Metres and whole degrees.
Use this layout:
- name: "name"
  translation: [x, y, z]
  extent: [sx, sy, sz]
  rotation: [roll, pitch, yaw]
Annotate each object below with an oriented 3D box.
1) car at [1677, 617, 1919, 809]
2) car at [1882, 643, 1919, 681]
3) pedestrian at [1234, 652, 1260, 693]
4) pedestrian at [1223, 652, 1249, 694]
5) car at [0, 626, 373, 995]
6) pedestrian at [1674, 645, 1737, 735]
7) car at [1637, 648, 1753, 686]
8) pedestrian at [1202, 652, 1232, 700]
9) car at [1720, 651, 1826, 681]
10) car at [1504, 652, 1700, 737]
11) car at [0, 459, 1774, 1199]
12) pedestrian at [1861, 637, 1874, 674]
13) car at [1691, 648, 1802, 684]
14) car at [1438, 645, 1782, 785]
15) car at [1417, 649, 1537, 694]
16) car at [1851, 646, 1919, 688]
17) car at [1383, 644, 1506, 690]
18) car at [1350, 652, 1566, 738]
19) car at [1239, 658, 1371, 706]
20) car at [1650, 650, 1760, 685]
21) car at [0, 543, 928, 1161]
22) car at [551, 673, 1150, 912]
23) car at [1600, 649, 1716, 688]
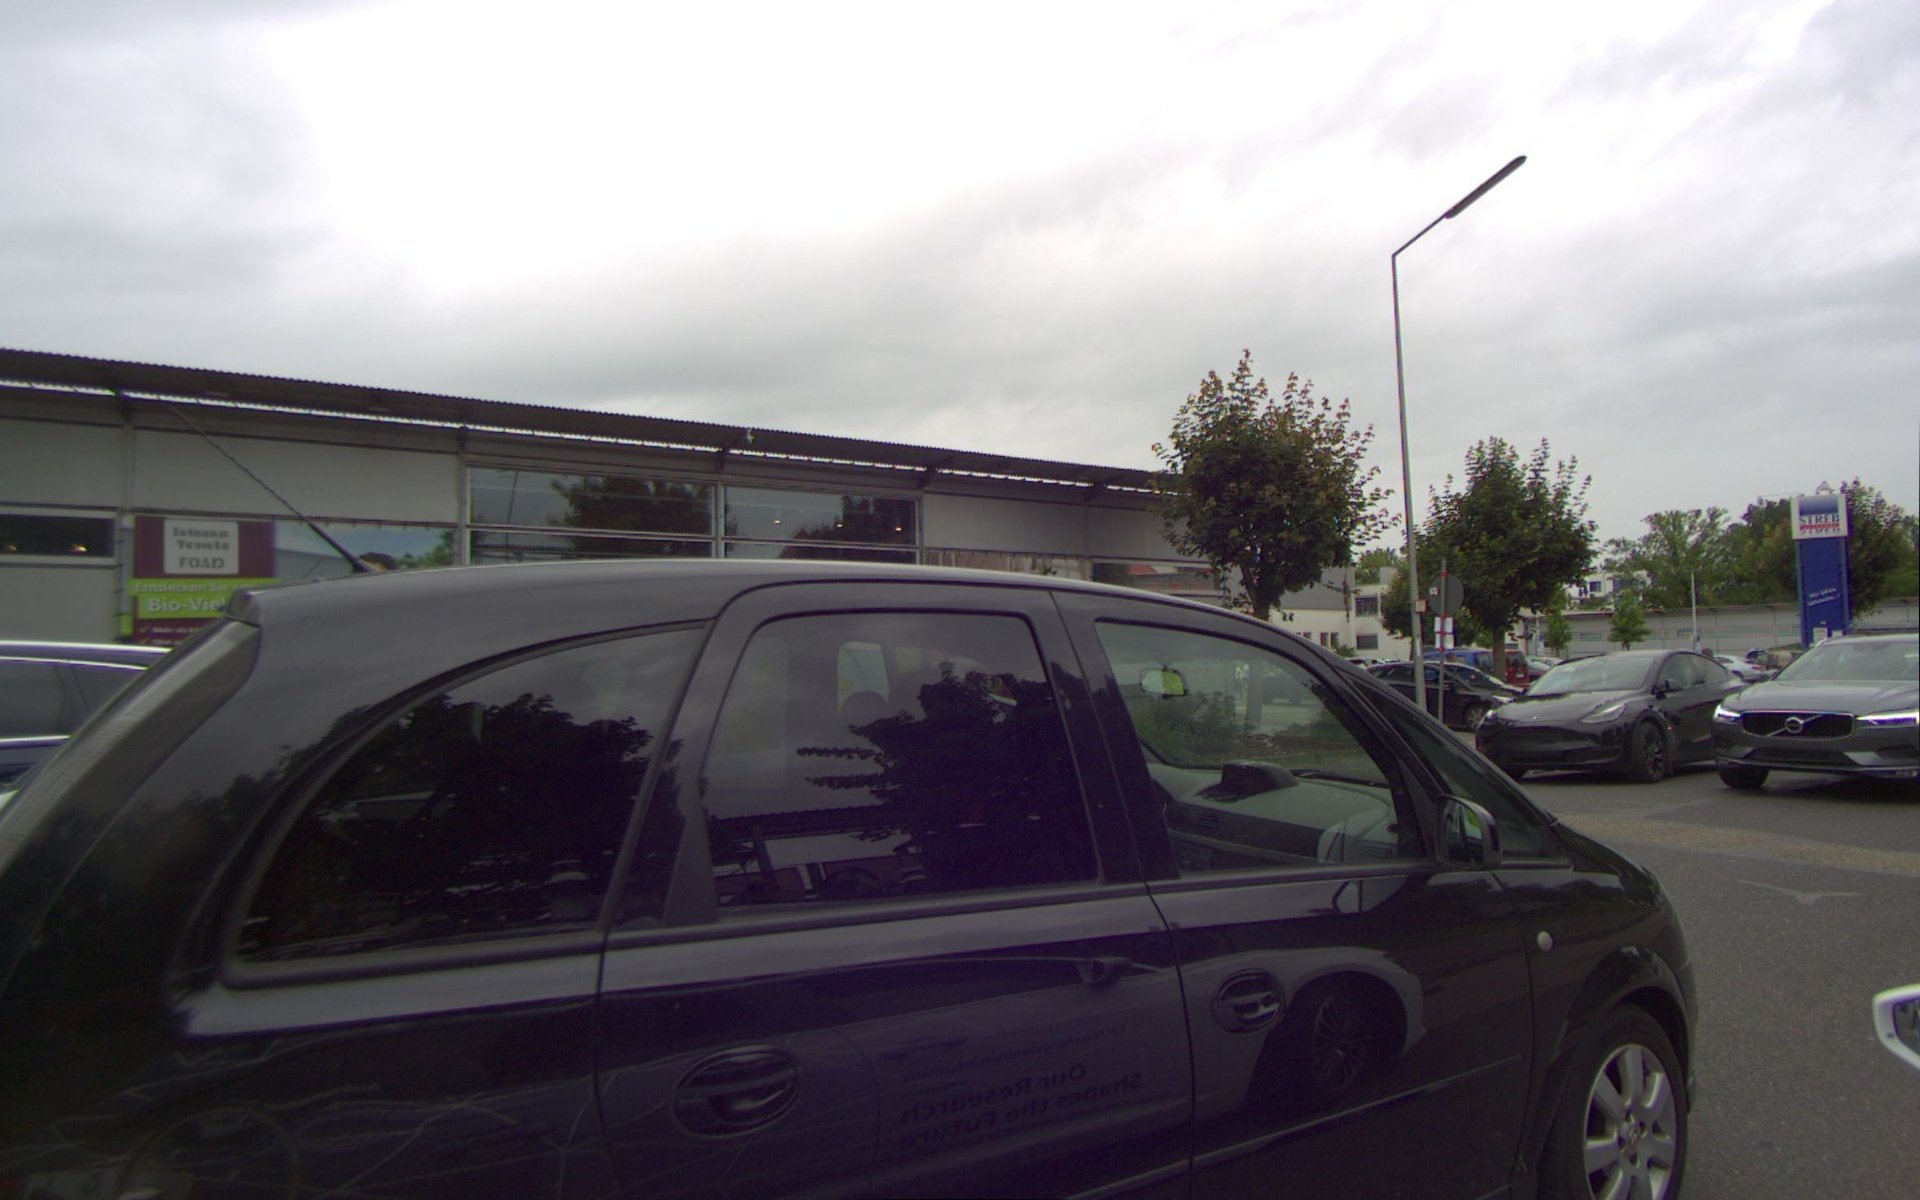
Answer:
- name: "car"
  translation: [10.052, 1.129, 10.886]
  extent: [4.440, 1.705, 1.926]
  rotation: [1, -5, -29]
- name: "car"
  translation: [38.960, 2.394, 39.169]
  extent: [1.879, 1.482, 4.110]
  rotation: [2, -4, -34]
- name: "pedestrian"
  translation: [12.162, 3.061, 42.615]
  extent: [0.690, 1.738, 0.795]
  rotation: [1, -2, -34]
- name: "pedestrian"
  translation: [11.465, 3.017, 41.763]
  extent: [0.690, 1.738, 0.795]
  rotation: [1, -2, -34]
- name: "car"
  translation: [-5.728, 1.072, 5.083]
  extent: [4.671, 1.712, 1.859]
  rotation: [1, -7, -29]
- name: "pedestrian"
  translation: [14.770, 1.768, 19.898]
  extent: [0.690, 1.737, 0.770]
  rotation: [1, -3, -34]
- name: "car"
  translation: [34.536, 3.148, 47.320]
  extent: [1.854, 1.690, 3.971]
  rotation: [1, -4, -29]
- name: "pedestrian"
  translation: [9.448, 2.782, 36.974]
  extent: [0.690, 1.738, 0.795]
  rotation: [1, -2, -34]
- name: "car"
  translation: [43.067, 3.515, 53.290]
  extent: [1.764, 1.511, 3.972]
  rotation: [1, -4, -28]
- name: "car"
  translation: [16.691, 2.414, 26.284]
  extent: [1.744, 2.039, 3.903]
  rotation: [2, -5, -36]
- name: "car"
  translation: [0.111, 0.790, 2.406]
  extent: [3.716, 1.653, 1.673]
  rotation: [1, -4, -32]
- name: "pedestrian"
  translation: [39.589, 2.418, 43.821]
  extent: [0.500, 1.590, 0.327]
  rotation: [2, -3, -43]
- name: "car"
  translation: [39.613, 3.335, 50.665]
  extent: [1.854, 1.690, 3.971]
  rotation: [1, -4, -29]
- name: "car"
  translation: [8.528, 1.454, 13.122]
  extent: [4.352, 1.545, 1.939]
  rotation: [1, -8, -31]
- name: "car"
  translation: [20.933, 2.896, 40.815]
  extent: [1.854, 1.690, 3.971]
  rotation: [1, -4, -29]
- name: "car"
  translation: [35.066, 2.402, 36.173]
  extent: [1.935, 1.482, 4.173]
  rotation: [2, -3, -37]
- name: "car"
  translation: [18.954, 2.637, 39.474]
  extent: [1.854, 1.690, 3.971]
  rotation: [1, -4, -29]
- name: "car"
  translation: [10.795, 1.987, 22.023]
  extent: [1.904, 1.641, 3.857]
  rotation: [1, -3, -29]
- name: "car"
  translation: [11.957, 2.797, 34.925]
  extent: [3.945, 1.504, 1.865]
  rotation: [-2, -3, 44]
- name: "car"
  translation: [37.187, 3.374, 50.206]
  extent: [1.854, 1.690, 3.971]
  rotation: [1, -4, -29]
- name: "car"
  translation: [-2.318, 0.770, 4.143]
  extent: [4.085, 1.784, 1.682]
  rotation: [1, -2, -29]
- name: "car"
  translation: [-0.778, 1.381, 8.058]
  extent: [4.465, 1.384, 1.692]
  rotation: [1, -9, -31]
- name: "car"
  translation: [32.227, 3.173, 46.512]
  extent: [1.854, 1.690, 3.971]
  rotation: [1, -4, -29]
